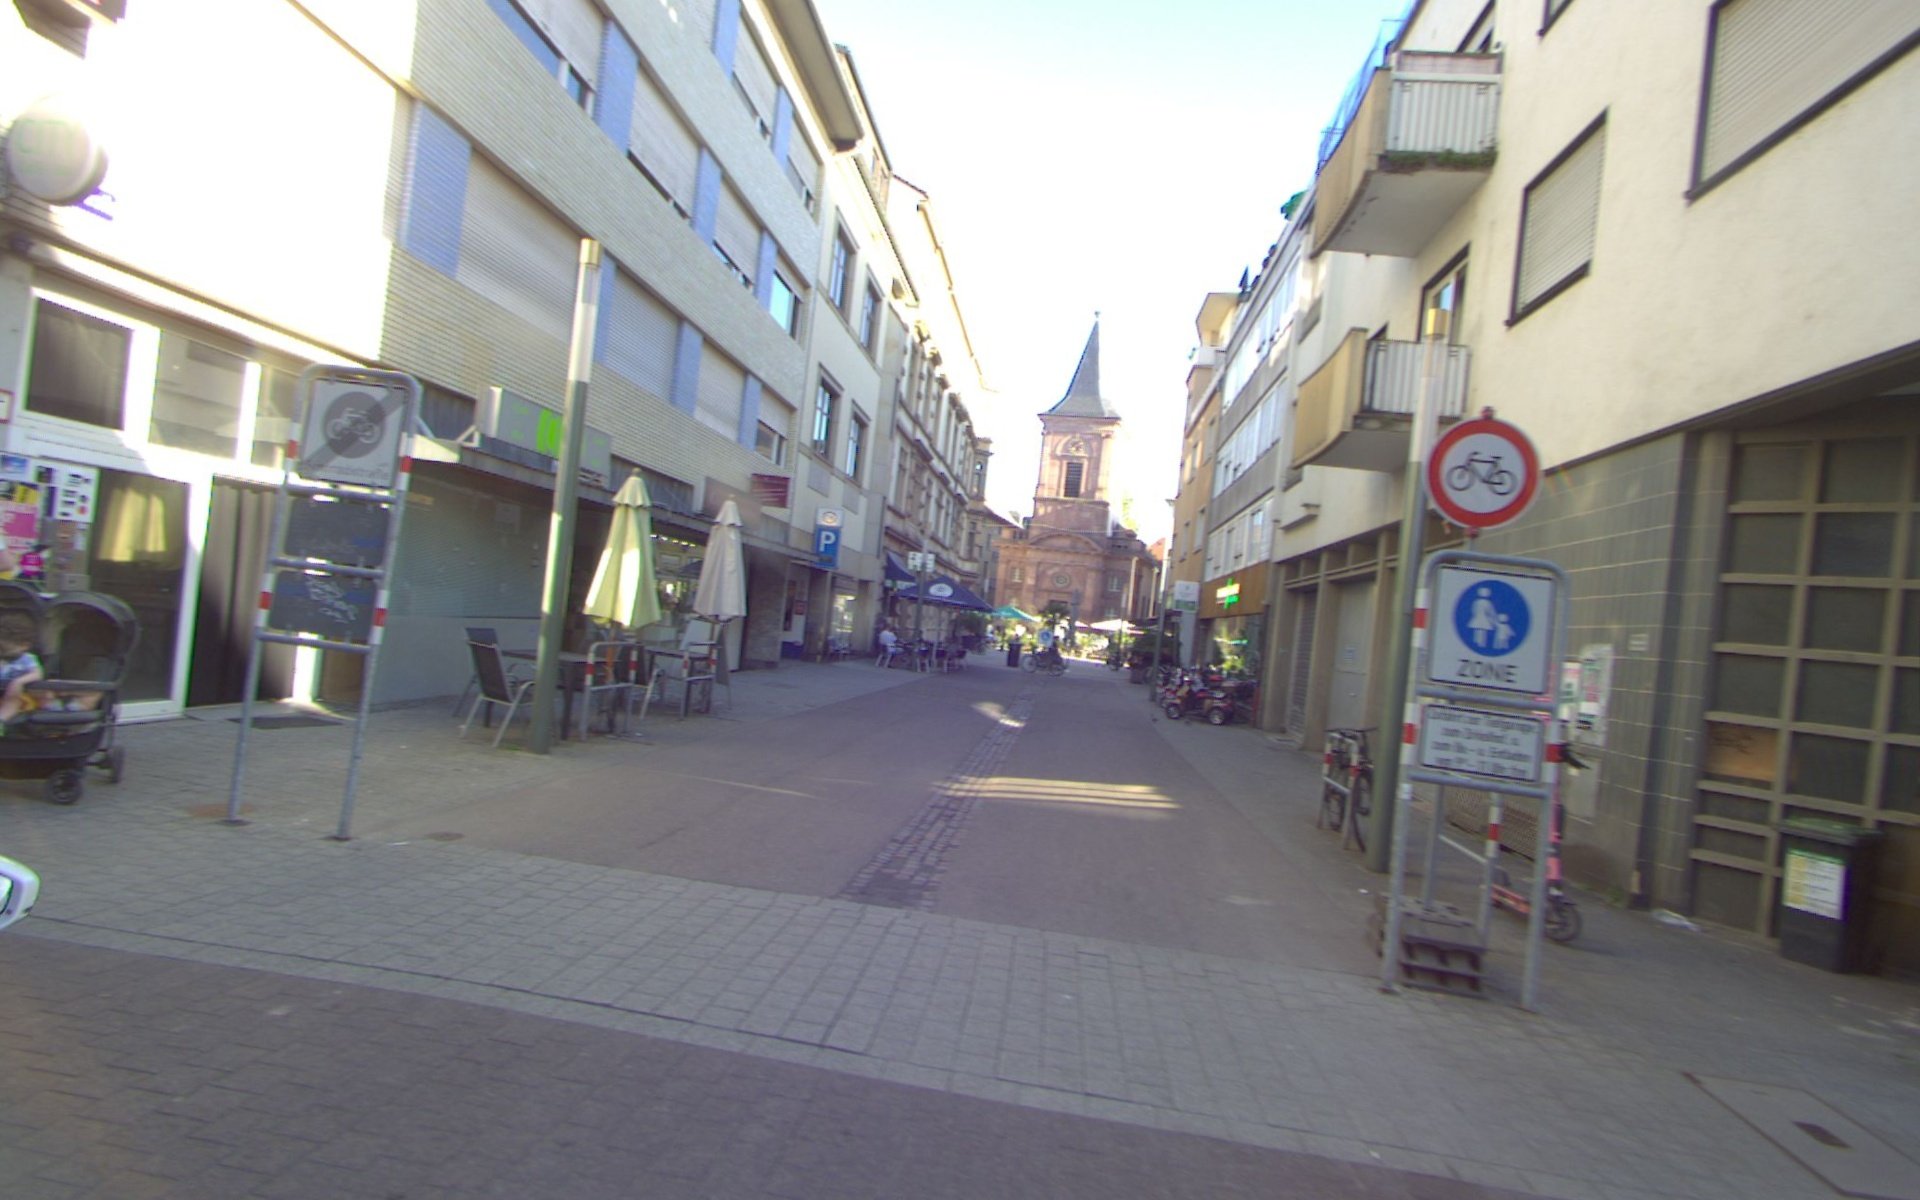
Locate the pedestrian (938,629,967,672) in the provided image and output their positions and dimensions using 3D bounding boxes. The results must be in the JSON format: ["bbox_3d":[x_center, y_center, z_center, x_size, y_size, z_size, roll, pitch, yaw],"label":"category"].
[{"bbox_3d":[-0.250,1.729,34.282,0.750,1.372,0.551,6,0,10],"label":"pedestrian"}]

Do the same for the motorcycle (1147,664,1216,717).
[{"bbox_3d":[5.932,2.412,26.983,1.659,1.188,0.597,7,0,10],"label":"motorcycle"}]

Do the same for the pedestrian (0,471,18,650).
[{"bbox_3d":[-5.989,0.087,5.825,0.622,1.757,0.615,6,0,-41],"label":"pedestrian"}]

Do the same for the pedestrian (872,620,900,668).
[{"bbox_3d":[-2.230,1.332,30.454,0.654,1.372,0.551,6,0,1],"label":"pedestrian"}]

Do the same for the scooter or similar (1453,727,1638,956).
[{"bbox_3d":[3.878,1.554,6.756,0.488,1.238,1.163,6,-1,4],"label":"scooter or similar"}]

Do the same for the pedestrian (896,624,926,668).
[{"bbox_3d":[-1.617,1.516,33.318,0.750,1.372,0.551,6,0,10],"label":"pedestrian"}]

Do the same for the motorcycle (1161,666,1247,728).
[{"bbox_3d":[5.617,2.217,23.142,1.672,1.168,0.792,6,-1,29],"label":"motorcycle"}]

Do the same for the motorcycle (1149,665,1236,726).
[{"bbox_3d":[5.590,2.285,24.250,1.876,1.188,0.626,6,-1,45],"label":"motorcycle"}]

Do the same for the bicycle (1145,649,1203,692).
[{"bbox_3d":[8.352,2.757,39.321,2.099,1.361,0.592,6,-9,11],"label":"bicycle"}]

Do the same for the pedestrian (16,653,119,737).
[{"bbox_3d":[-4.875,0.517,5.508,0.328,0.403,0.310,7,0,-29],"label":"pedestrian"}]

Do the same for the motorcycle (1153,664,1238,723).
[{"bbox_3d":[5.856,2.324,25.082,1.882,1.188,0.541,6,0,38],"label":"motorcycle"}]

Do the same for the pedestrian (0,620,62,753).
[{"bbox_3d":[-5.095,0.446,5.344,0.328,0.641,0.505,6,0,-29],"label":"pedestrian"}]

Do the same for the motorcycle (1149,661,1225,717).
[{"bbox_3d":[5.886,2.303,26.112,1.752,1.188,0.554,6,0,25],"label":"motorcycle"}]

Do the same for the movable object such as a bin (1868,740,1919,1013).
[{"bbox_3d":[6.109,1.629,5.479,1.119,1.480,1.421,7,-1,-36],"label":"movable object such as a bin"}]

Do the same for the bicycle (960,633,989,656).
[{"bbox_3d":[0.747,2.334,52.653,1.376,1.015,0.506,6,0,36],"label":"bicycle"}]

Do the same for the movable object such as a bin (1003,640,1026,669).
[{"bbox_3d":[2.380,2.372,44.107,0.888,1.137,0.780,6,0,3],"label":"movable object such as a bin"}]

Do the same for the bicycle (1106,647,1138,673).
[{"bbox_3d":[8.410,3.131,52.263,1.806,1.168,0.405,7,0,-37],"label":"bicycle"}]

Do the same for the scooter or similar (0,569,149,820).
[{"bbox_3d":[-5.085,0.483,5.510,0.865,1.191,1.032,7,1,-42],"label":"scooter or similar"}]

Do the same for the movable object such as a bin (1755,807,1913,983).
[{"bbox_3d":[5.680,1.884,6.543,0.602,0.937,0.591,7,0,-36],"label":"movable object such as a bin"}]

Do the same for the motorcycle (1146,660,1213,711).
[{"bbox_3d":[6.073,2.370,27.889,1.659,1.188,0.513,7,0,11],"label":"motorcycle"}]

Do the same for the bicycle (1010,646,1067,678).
[{"bbox_3d":[3.147,2.476,40.464,2.127,0.995,0.817,8,0,9],"label":"bicycle"}]

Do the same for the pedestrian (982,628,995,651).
[{"bbox_3d":[1.899,2.646,67.284,0.617,1.468,0.797,6,0,-2],"label":"pedestrian"}]

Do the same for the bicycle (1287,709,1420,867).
[{"bbox_3d":[3.597,1.670,9.354,0.669,1.140,1.896,6,-2,10],"label":"bicycle"}]

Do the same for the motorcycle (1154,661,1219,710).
[{"bbox_3d":[6.493,2.443,28.822,1.660,1.188,0.513,7,0,18],"label":"motorcycle"}]
